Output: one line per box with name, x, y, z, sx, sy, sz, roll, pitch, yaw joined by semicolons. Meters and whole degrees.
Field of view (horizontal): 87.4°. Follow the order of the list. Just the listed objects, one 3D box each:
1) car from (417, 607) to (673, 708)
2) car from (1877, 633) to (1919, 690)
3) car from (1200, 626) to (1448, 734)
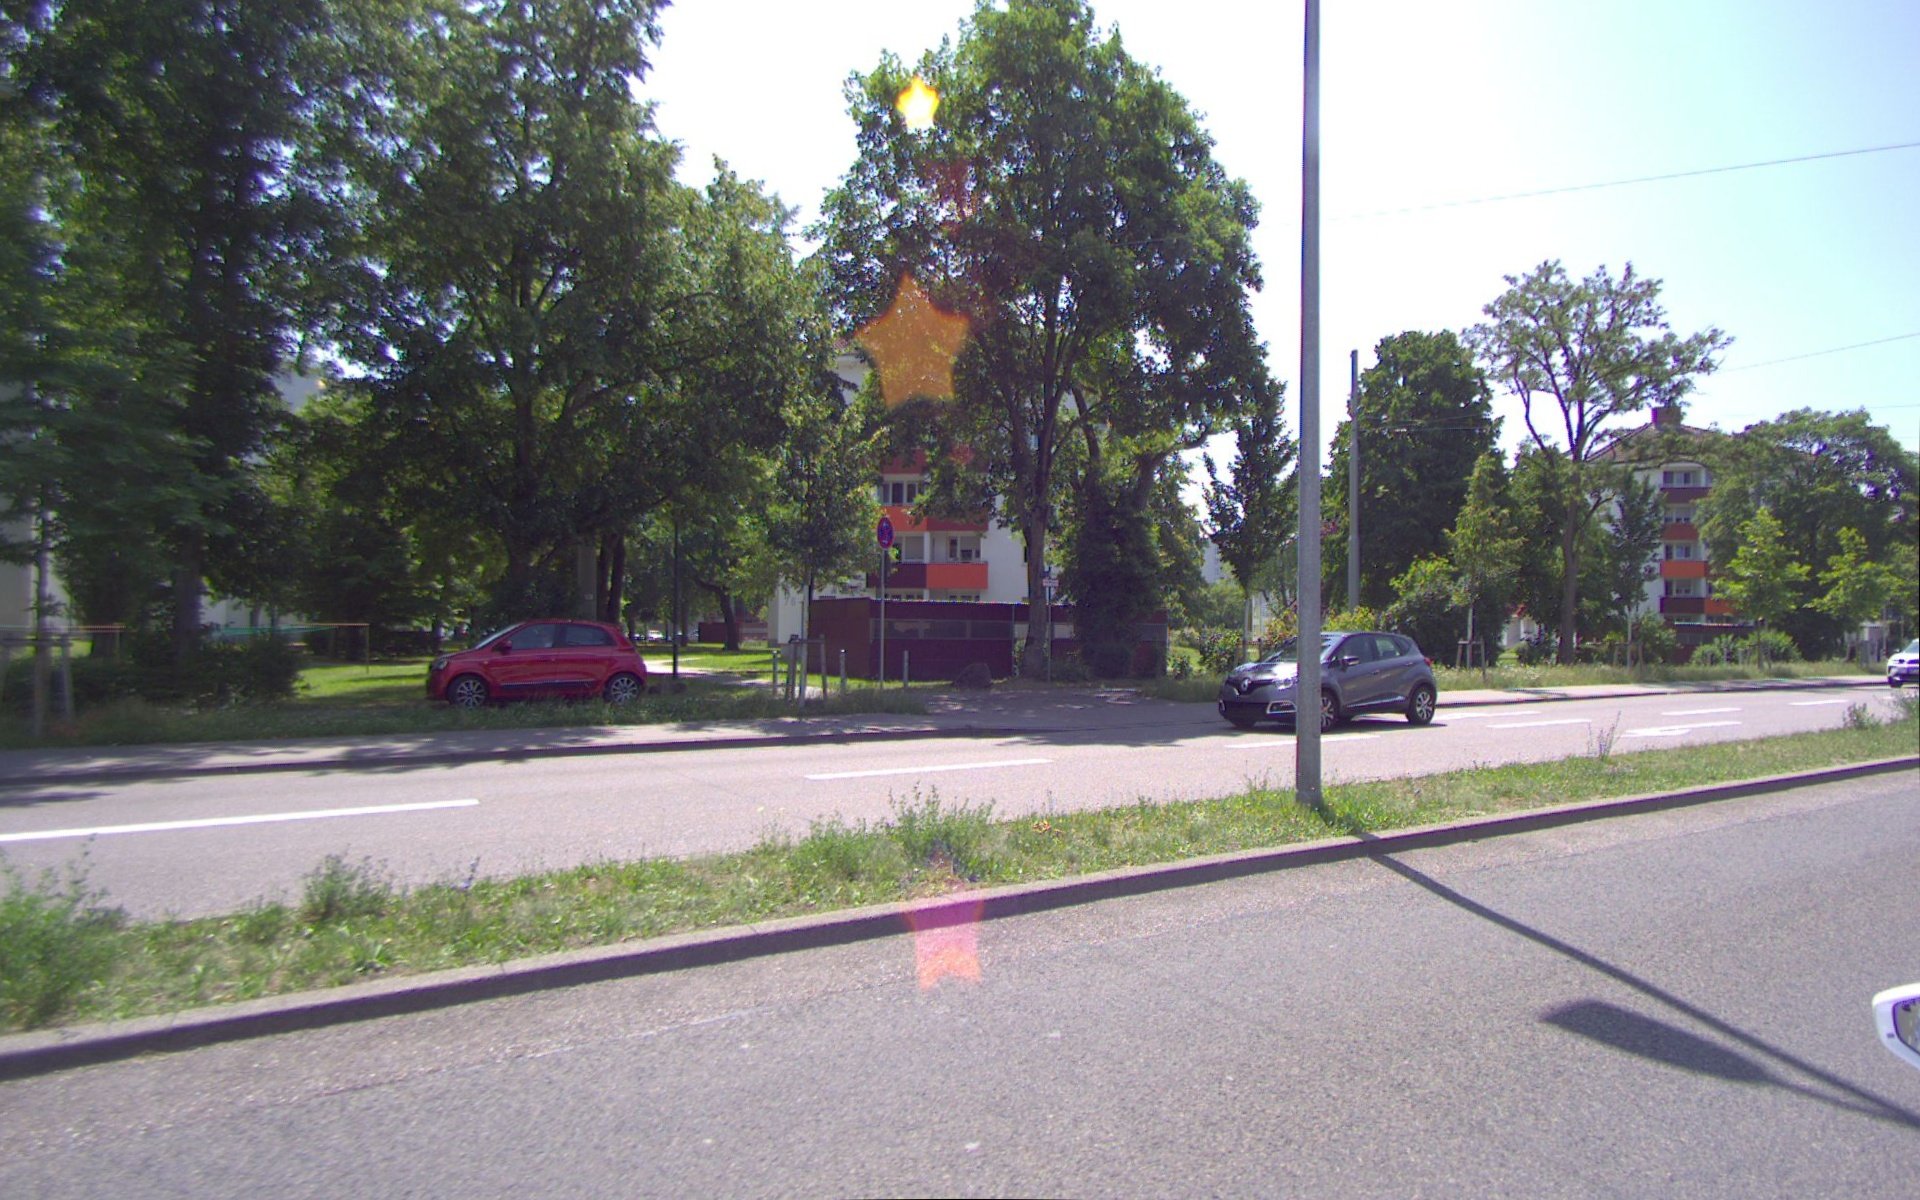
car;-7.340;0.989;17.827;3.954;1.606;1.984;2;-2;-31
car;32.207;2.048;33.040;4.430;1.781;1.849;3;-1;-32
car;6.032;1.300;16.531;4.040;1.574;1.758;3;-4;-33
